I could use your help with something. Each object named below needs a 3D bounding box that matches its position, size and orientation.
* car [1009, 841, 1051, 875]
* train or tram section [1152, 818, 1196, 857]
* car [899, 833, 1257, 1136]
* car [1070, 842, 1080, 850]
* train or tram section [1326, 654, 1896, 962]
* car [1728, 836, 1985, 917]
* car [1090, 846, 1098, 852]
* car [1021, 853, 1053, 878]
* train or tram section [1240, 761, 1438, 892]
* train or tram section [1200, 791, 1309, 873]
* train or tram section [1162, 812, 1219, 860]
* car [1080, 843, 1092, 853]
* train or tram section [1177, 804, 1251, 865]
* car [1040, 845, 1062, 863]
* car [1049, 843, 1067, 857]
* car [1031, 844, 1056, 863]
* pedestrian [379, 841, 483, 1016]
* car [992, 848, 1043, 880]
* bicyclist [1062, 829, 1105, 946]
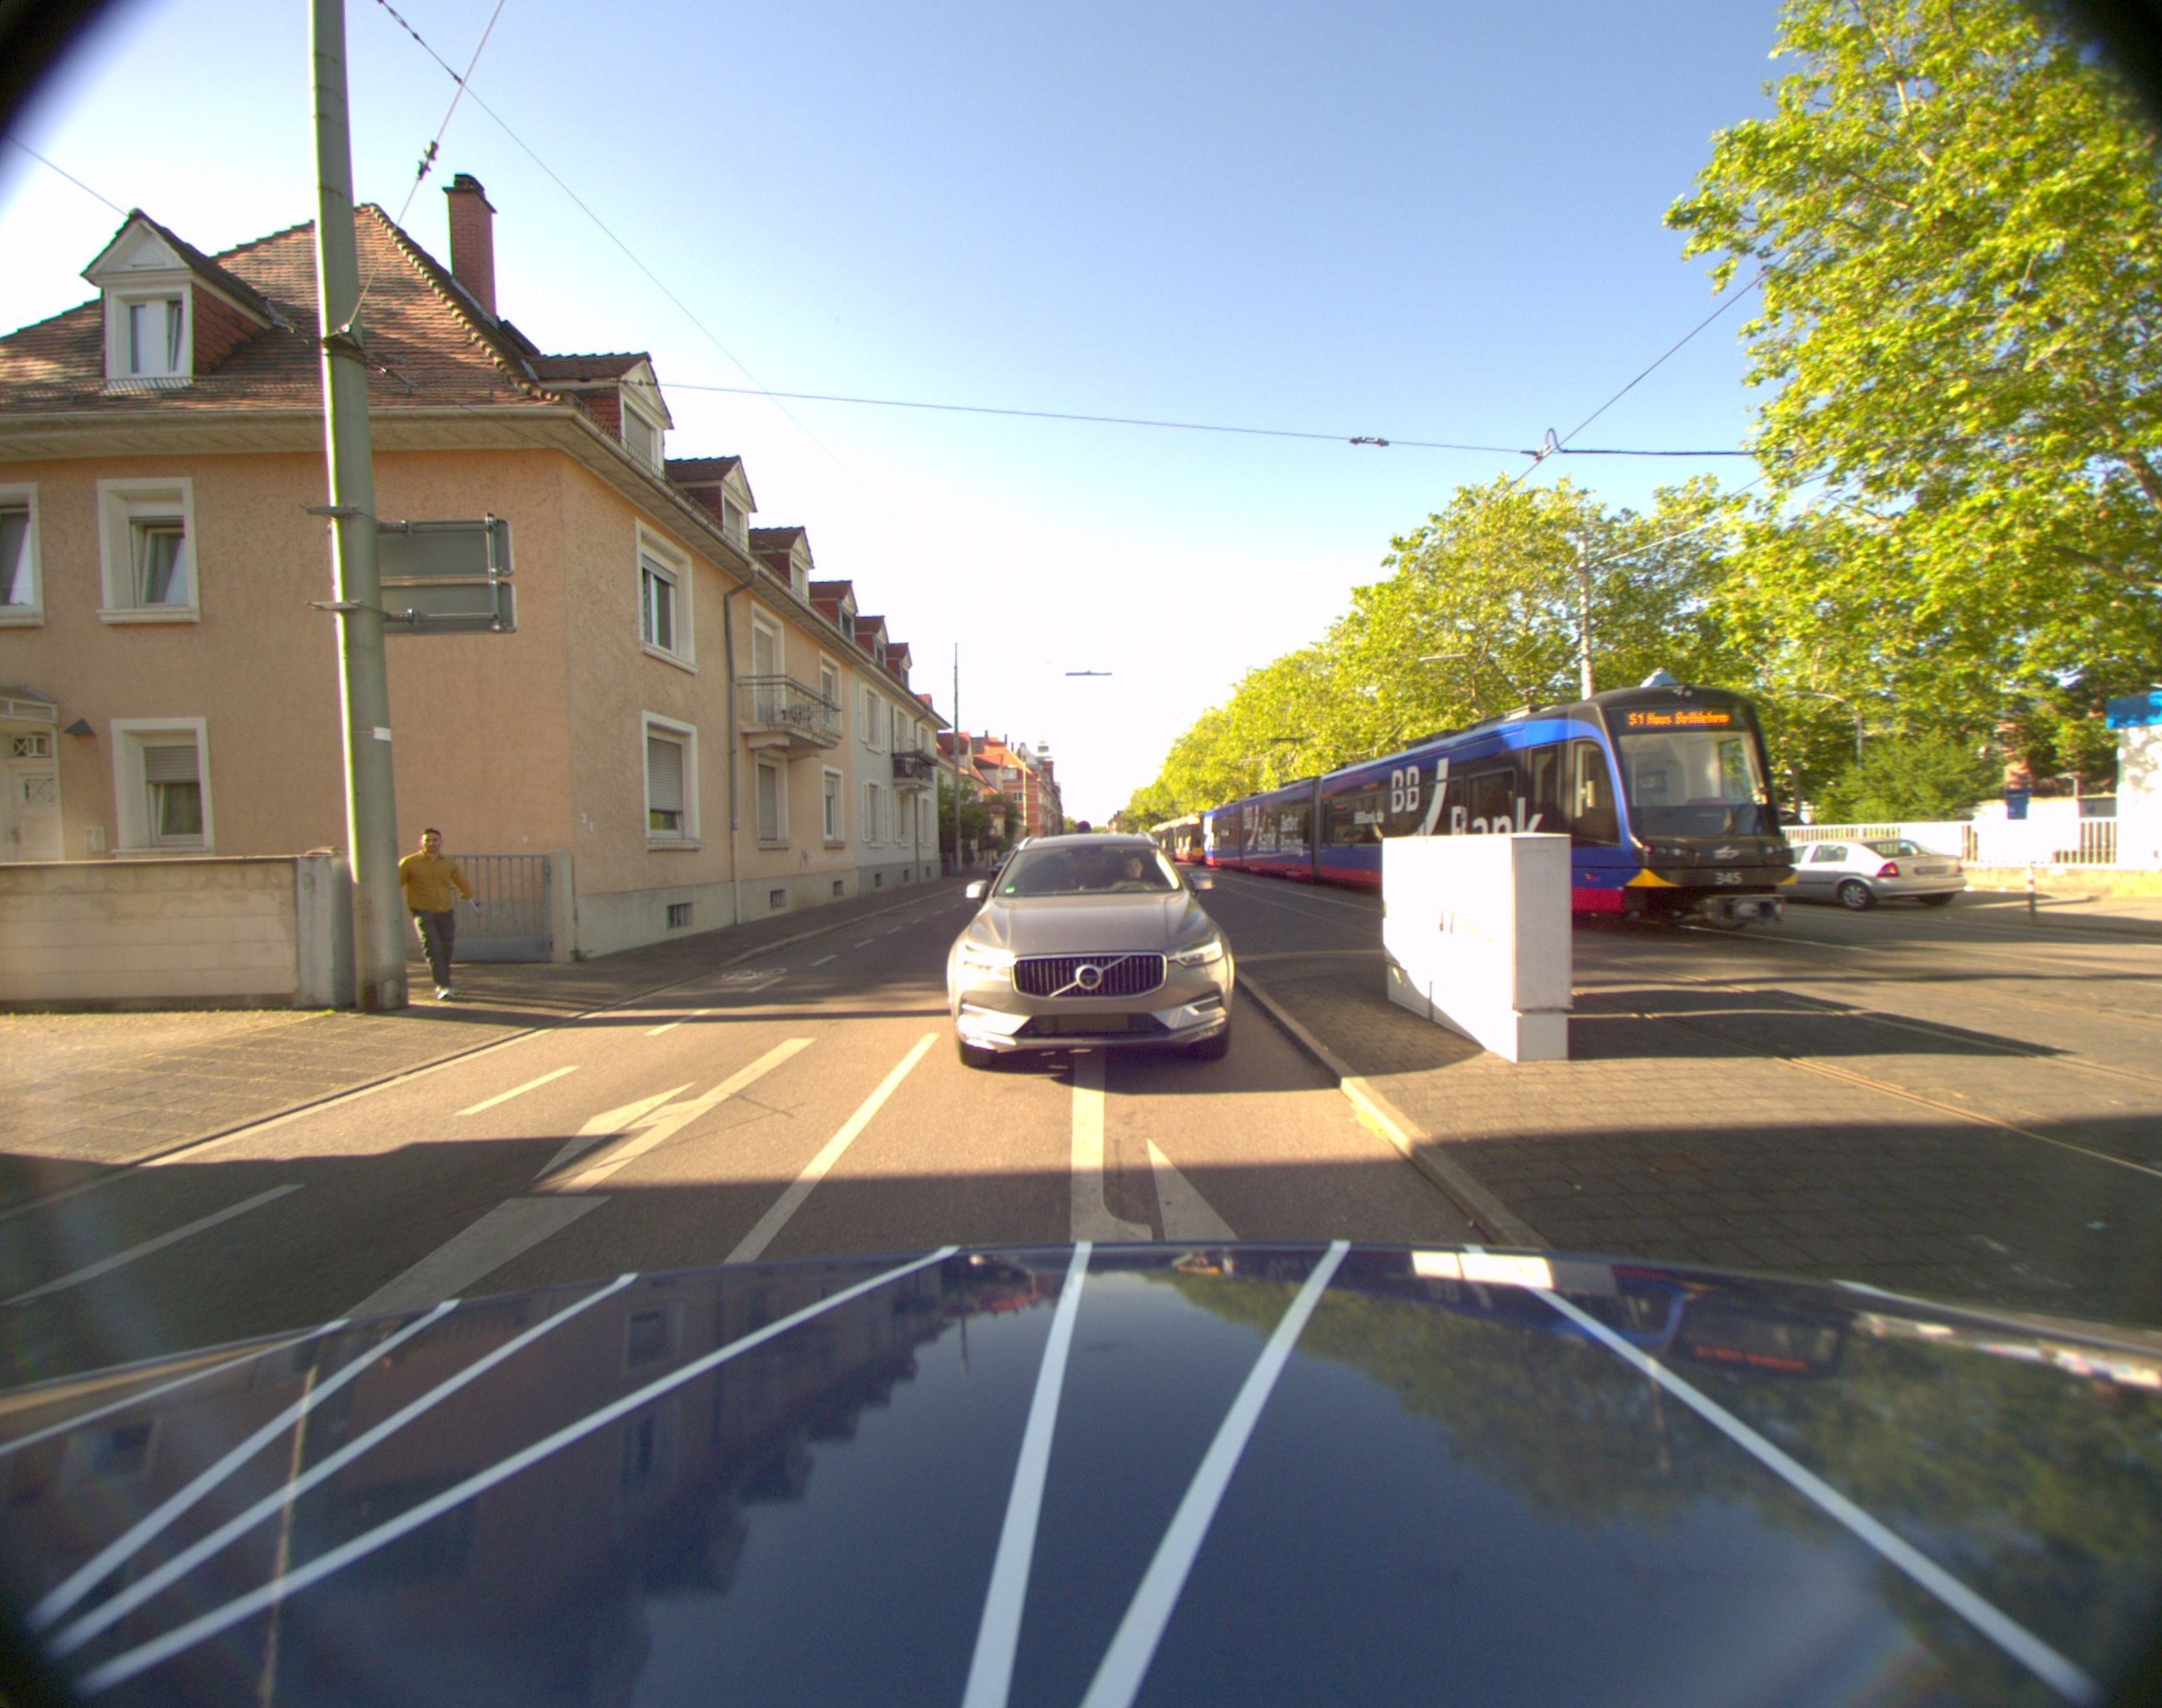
[{"bbox_3d":[-2.926,0.158,44.447,1.932,1.834,5.312,-1,1,2],"label":"car"},{"bbox_3d":[9.114,-1.615,76.141,3.063,3.592,12.887,-1,1,1],"label":"train or tram section"},{"bbox_3d":[0.015,0.680,6.386,1.917,1.622,4.502,-1,1,1],"label":"car"},{"bbox_3d":[-1.197,-1.627,148.447,1.882,1.477,3.999,-1,1,-1],"label":"car"},{"bbox_3d":[8.227,-0.628,15.071,3.062,3.592,12.113,-1,1,1],"label":"train or tram section"},{"bbox_3d":[16.229,0.409,16.184,1.779,1.416,3.537,-4,1,-1],"label":"car"},{"bbox_3d":[3.377,-1.352,196.248,1.882,1.477,3.999,-1,1,-1],"label":"car"},{"bbox_3d":[-2.854,0.702,49.731,1.882,1.477,3.999,-1,1,-1],"label":"car"},{"bbox_3d":[8.468,-0.854,27.351,3.063,3.592,12.500,-1,1,1],"label":"train or tram section"},{"bbox_3d":[8.613,-1.072,39.637,3.063,3.592,12.112,-1,1,1],"label":"train or tram section"},{"bbox_3d":[8.961,-1.478,63.764,3.063,3.592,11.947,-1,1,1],"label":"train or tram section"},{"bbox_3d":[0.817,-1.014,122.042,1.882,1.477,3.999,-1,1,-1],"label":"car"},{"bbox_3d":[8.792,-1.280,51.757,3.063,3.592,12.113,-1,1,1],"label":"train or tram section"},{"bbox_3d":[-2.658,-0.036,68.784,1.882,1.477,3.999,-1,1,-1],"label":"car"},{"bbox_3d":[-2.612,-0.454,86.483,1.882,1.477,3.999,-1,1,-1],"label":"car"},{"bbox_3d":[-3.001,-0.049,62.037,1.882,1.477,3.999,-1,1,-1],"label":"car"},{"bbox_3d":[-6.805,0.748,7.971,0.485,1.751,0.603,-1,1,19],"label":"pedestrian"},{"bbox_3d":[-3.162,0.461,38.511,1.881,1.477,4.001,-1,1,5],"label":"car"},{"bbox_3d":[0.037,0.494,11.499,0.600,1.709,0.662,-1,1,1],"label":"bicyclist"}]
